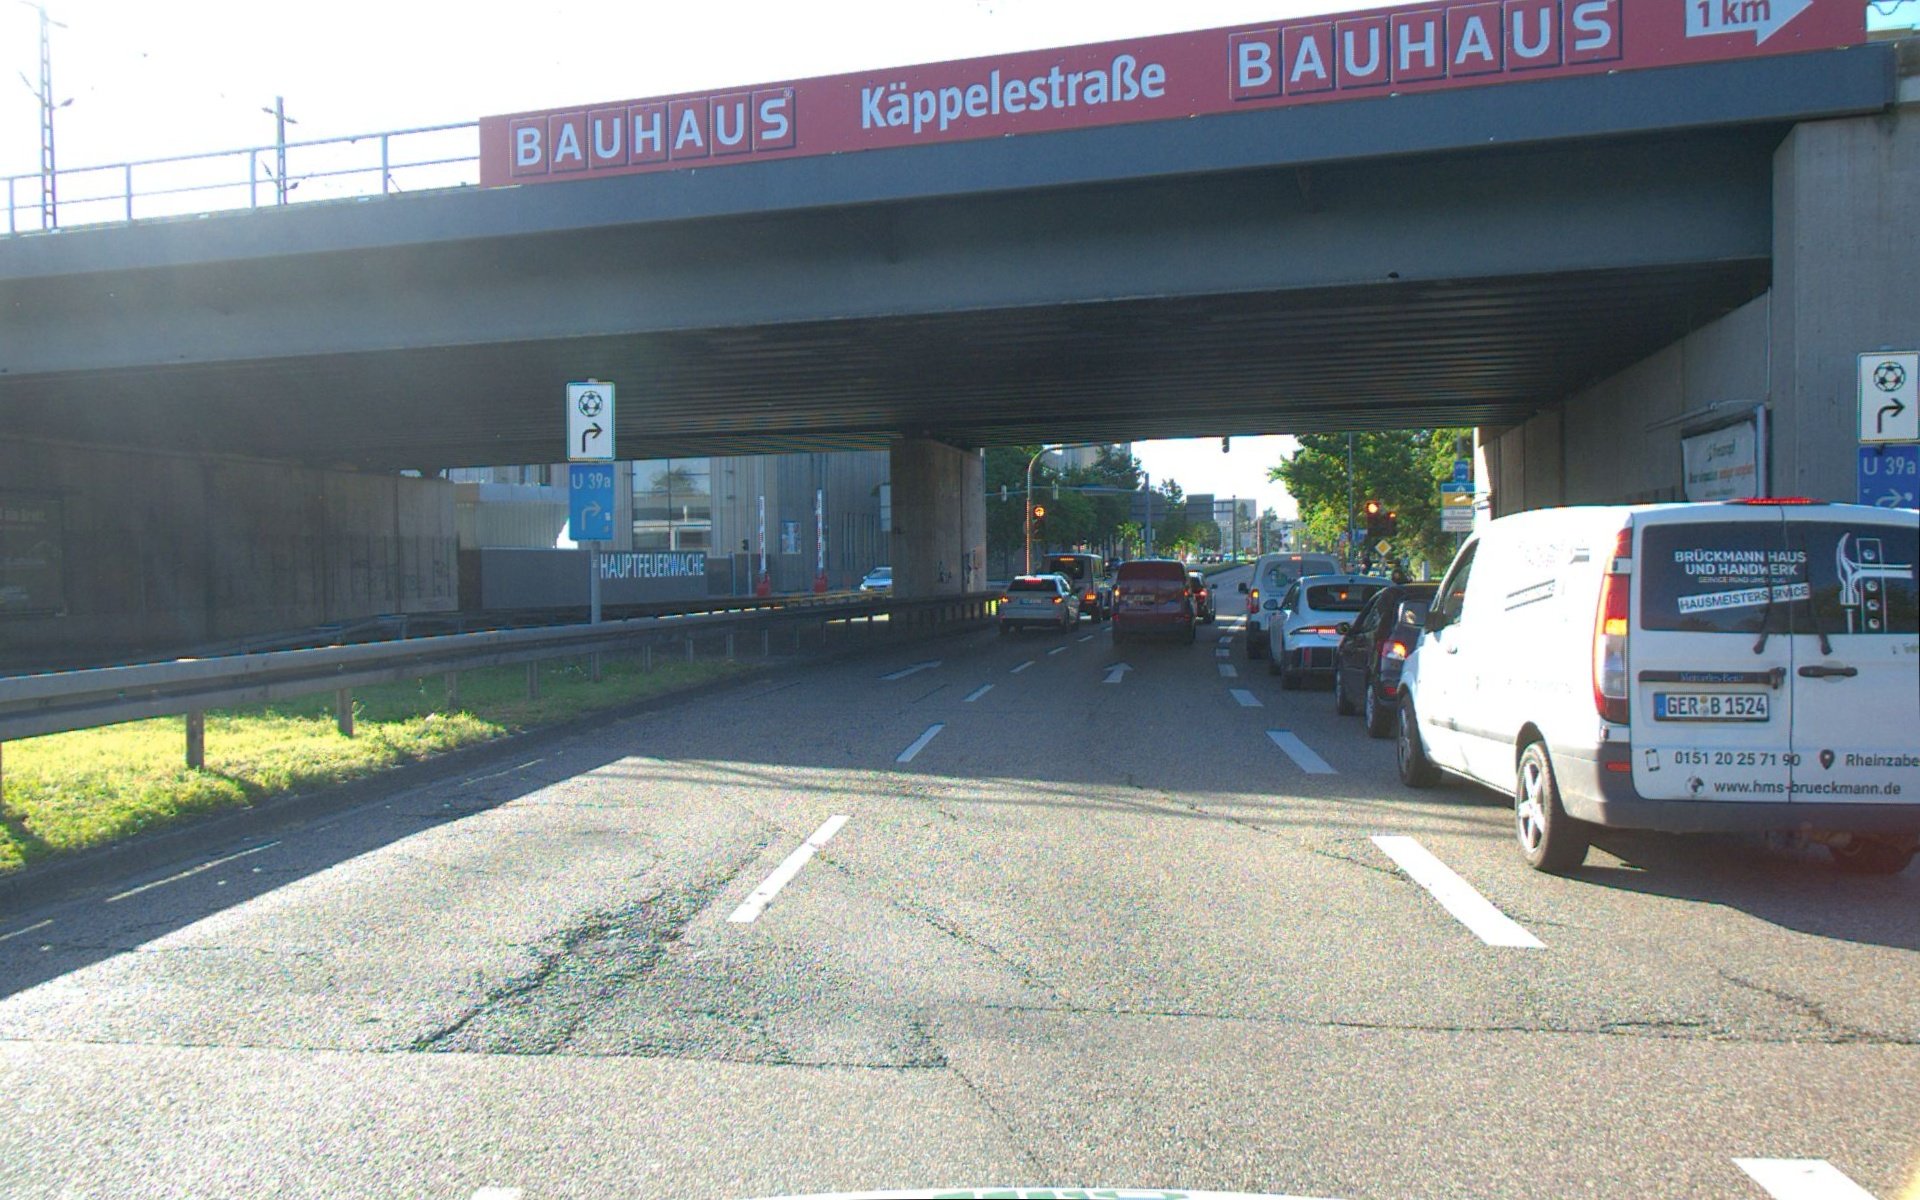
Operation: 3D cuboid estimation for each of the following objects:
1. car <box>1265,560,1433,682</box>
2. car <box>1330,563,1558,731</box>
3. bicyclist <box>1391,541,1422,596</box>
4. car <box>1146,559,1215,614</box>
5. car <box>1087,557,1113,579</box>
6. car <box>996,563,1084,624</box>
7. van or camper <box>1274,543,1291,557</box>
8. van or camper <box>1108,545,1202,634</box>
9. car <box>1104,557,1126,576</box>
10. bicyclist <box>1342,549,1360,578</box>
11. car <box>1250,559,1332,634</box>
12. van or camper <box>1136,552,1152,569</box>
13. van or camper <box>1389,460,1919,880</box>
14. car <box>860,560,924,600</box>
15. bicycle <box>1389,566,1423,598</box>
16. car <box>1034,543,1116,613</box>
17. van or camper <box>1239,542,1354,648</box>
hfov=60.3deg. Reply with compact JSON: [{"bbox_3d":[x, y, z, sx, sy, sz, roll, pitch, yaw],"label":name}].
[{"bbox_3d":[5.262,0.237,22.836,1.726,1.501,4.292,-1,1,6],"label":"car"},{"bbox_3d":[4.736,0.375,16.631,1.570,1.459,3.681,0,2,6],"label":"car"},{"bbox_3d":[13.553,-0.962,50.230,0.735,1.611,0.926,-3,0,10],"label":"bicyclist"},{"bbox_3d":[6.551,-0.419,48.785,1.725,1.501,4.293,-1,1,11],"label":"car"},{"bbox_3d":[12.331,-2.831,146.013,1.747,1.896,3.949,-3,1,12],"label":"car"},{"bbox_3d":[2.068,-0.190,41.840,1.671,1.478,3.746,0,1,12],"label":"car"},{"bbox_3d":[45.805,-7.050,234.898,1.748,1.896,3.911,-3,1,17],"label":"van or camper"},{"bbox_3d":[4.390,-0.258,36.799,1.716,1.845,3.963,0,1,12],"label":"van or camper"},{"bbox_3d":[16.024,-3.464,170.661,1.747,1.896,3.912,-3,1,12],"label":"car"},{"bbox_3d":[23.054,-2.155,97.553,0.903,1.611,0.770,-3,0,16],"label":"bicyclist"},{"bbox_3d":[7.300,-0.106,36.390,1.671,1.549,3.746,0,1,12],"label":"car"},{"bbox_3d":[22.836,-4.884,205.299,1.747,1.896,3.912,-3,1,9],"label":"van or camper"},{"bbox_3d":[4.061,0.279,10.002,1.917,1.916,4.882,0,1,3],"label":"van or camper"},{"bbox_3d":[-2.917,-0.881,71.577,1.745,1.674,4.205,0,1,13],"label":"car"},{"bbox_3d":[13.516,-0.540,50.126,0.755,0.908,1.998,-3,1,9],"label":"bicycle"},{"bbox_3d":[3.482,-0.672,49.260,1.826,1.981,4.601,0,1,12],"label":"car"},{"bbox_3d":[6.151,-0.124,30.648,1.787,1.822,4.549,0,1,8],"label":"van or camper"}]
